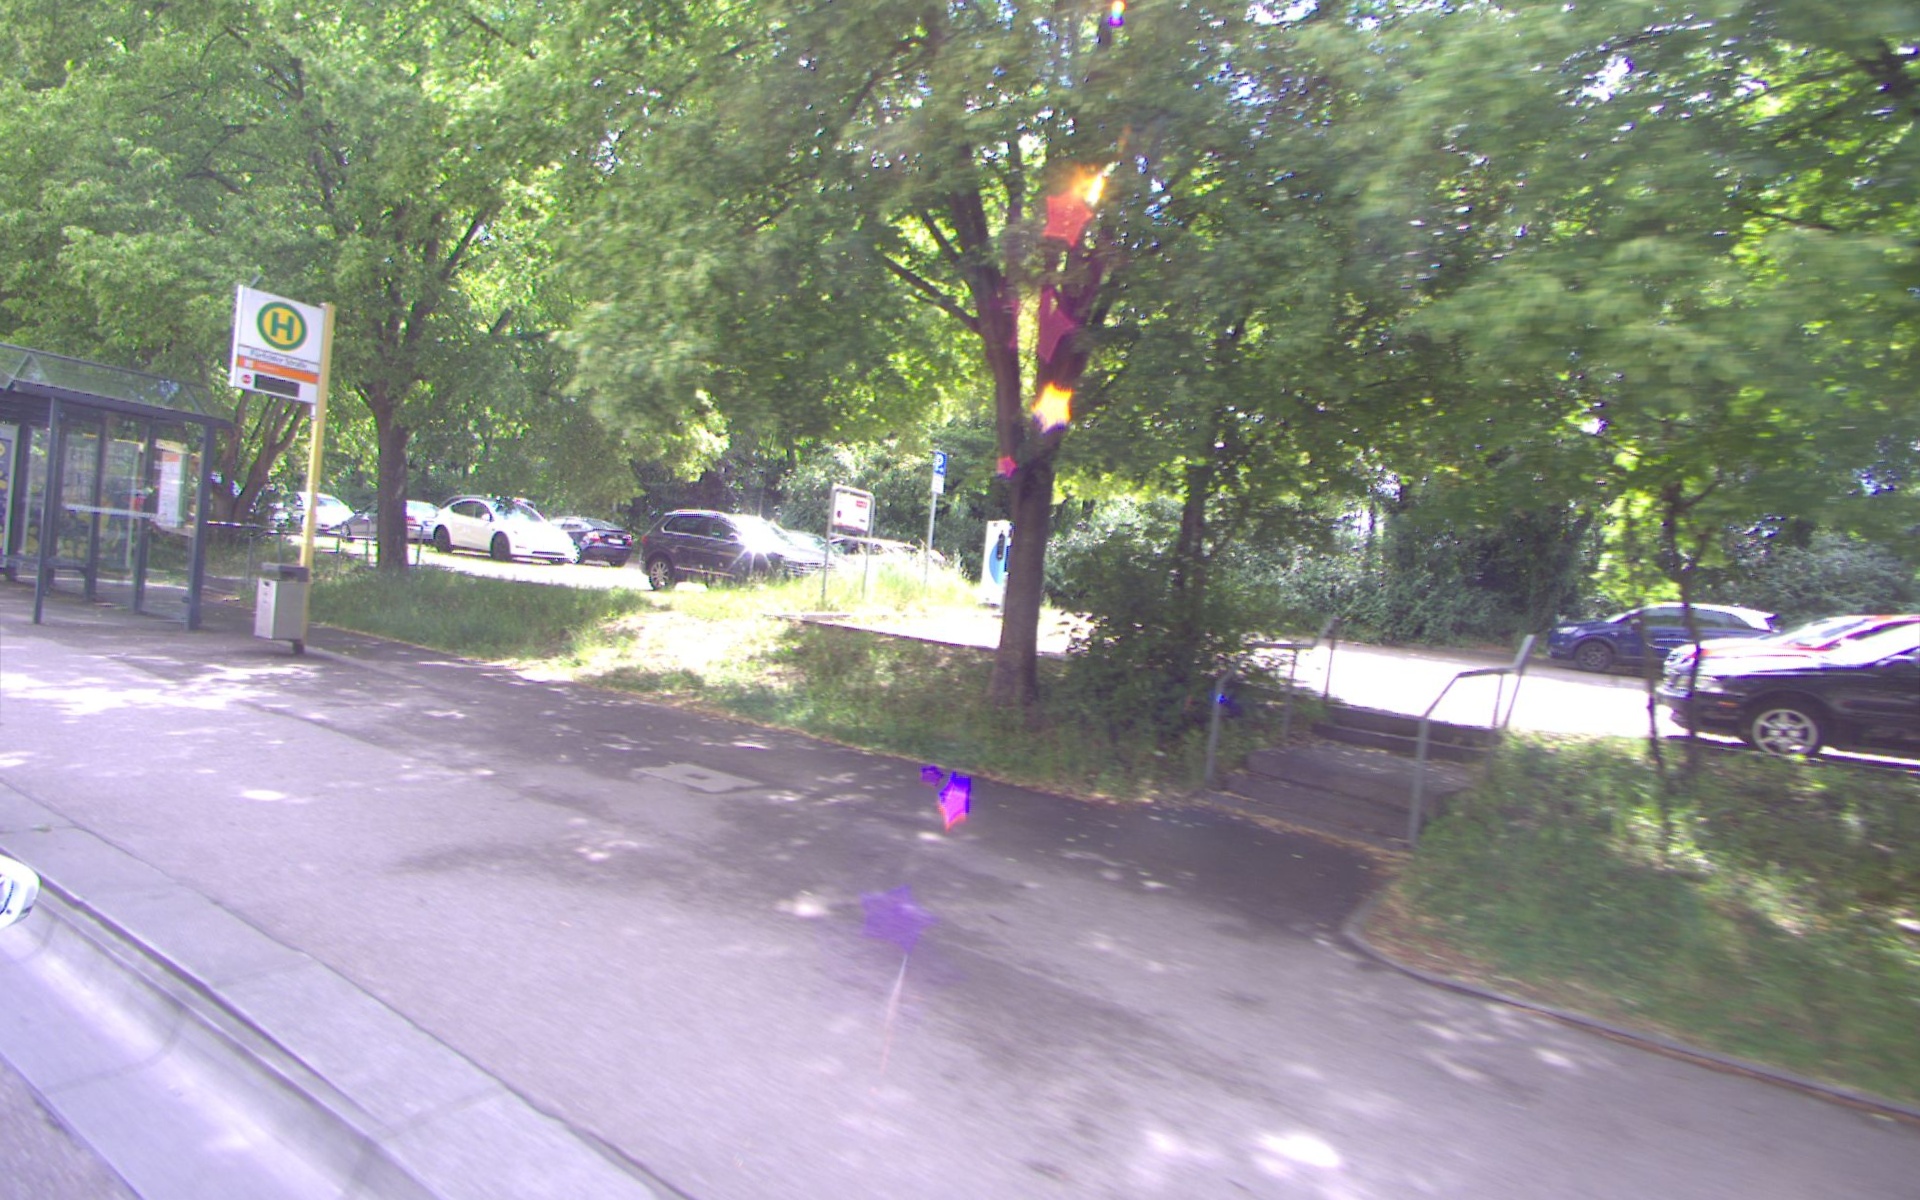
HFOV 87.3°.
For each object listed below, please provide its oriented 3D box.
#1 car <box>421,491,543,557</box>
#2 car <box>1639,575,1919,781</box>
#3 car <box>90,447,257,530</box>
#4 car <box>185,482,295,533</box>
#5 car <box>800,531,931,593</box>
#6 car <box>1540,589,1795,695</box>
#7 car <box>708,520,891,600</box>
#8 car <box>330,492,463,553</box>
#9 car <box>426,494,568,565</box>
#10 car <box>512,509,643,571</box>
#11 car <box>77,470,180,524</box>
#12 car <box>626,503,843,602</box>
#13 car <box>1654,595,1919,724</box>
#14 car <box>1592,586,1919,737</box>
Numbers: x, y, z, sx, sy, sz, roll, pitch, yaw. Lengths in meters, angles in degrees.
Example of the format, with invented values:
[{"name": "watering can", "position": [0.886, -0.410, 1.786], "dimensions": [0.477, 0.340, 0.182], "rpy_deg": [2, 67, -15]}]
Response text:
[{"name": "car", "position": [-15.847, -2.533, 33.290], "dimensions": [4.138, 1.815, 1.612], "rpy_deg": [7, 4, 32]}, {"name": "car", "position": [8.485, 0.736, 8.737], "dimensions": [4.070, 1.535, 1.626], "rpy_deg": [7, 4, 32]}, {"name": "car", "position": [-20.342, -2.896, 25.979], "dimensions": [4.646, 1.682, 1.848], "rpy_deg": [7, 0, 32]}, {"name": "car", "position": [-26.224, -3.373, 36.597], "dimensions": [4.056, 1.439, 1.841], "rpy_deg": [7, 2, 32]}, {"name": "car", "position": [-2.292, -0.914, 24.215], "dimensions": [2.812, 1.321, 1.407], "rpy_deg": [5, 3, 31]}, {"name": "car", "position": [14.594, 0.842, 21.100], "dimensions": [4.031, 1.645, 2.061], "rpy_deg": [7, 1, 31]}, {"name": "car", "position": [-3.575, -0.888, 22.198], "dimensions": [3.731, 1.513, 1.687], "rpy_deg": [5, 3, 31]}, {"name": "car", "position": [-16.992, -2.335, 30.283], "dimensions": [4.281, 1.462, 1.612], "rpy_deg": [7, 3, 32]}, {"name": "car", "position": [-12.784, -1.962, 27.673], "dimensions": [4.360, 1.577, 1.468], "rpy_deg": [7, 4, 34]}, {"name": "car", "position": [-11.598, -1.840, 30.432], "dimensions": [3.936, 1.472, 1.682], "rpy_deg": [7, 1, 34]}, {"name": "car", "position": [-28.232, -3.490, 34.132], "dimensions": [3.563, 1.529, 1.691], "rpy_deg": [7, 3, 33]}, {"name": "car", "position": [-4.567, -0.962, 20.157], "dimensions": [4.191, 1.718, 1.687], "rpy_deg": [5, 3, 31]}, {"name": "car", "position": [12.707, 0.864, 15.055], "dimensions": [3.602, 1.498, 1.631], "rpy_deg": [7, 3, 32]}, {"name": "car", "position": [11.023, 0.793, 13.201], "dimensions": [4.469, 1.498, 1.752], "rpy_deg": [7, 3, 32]}]
